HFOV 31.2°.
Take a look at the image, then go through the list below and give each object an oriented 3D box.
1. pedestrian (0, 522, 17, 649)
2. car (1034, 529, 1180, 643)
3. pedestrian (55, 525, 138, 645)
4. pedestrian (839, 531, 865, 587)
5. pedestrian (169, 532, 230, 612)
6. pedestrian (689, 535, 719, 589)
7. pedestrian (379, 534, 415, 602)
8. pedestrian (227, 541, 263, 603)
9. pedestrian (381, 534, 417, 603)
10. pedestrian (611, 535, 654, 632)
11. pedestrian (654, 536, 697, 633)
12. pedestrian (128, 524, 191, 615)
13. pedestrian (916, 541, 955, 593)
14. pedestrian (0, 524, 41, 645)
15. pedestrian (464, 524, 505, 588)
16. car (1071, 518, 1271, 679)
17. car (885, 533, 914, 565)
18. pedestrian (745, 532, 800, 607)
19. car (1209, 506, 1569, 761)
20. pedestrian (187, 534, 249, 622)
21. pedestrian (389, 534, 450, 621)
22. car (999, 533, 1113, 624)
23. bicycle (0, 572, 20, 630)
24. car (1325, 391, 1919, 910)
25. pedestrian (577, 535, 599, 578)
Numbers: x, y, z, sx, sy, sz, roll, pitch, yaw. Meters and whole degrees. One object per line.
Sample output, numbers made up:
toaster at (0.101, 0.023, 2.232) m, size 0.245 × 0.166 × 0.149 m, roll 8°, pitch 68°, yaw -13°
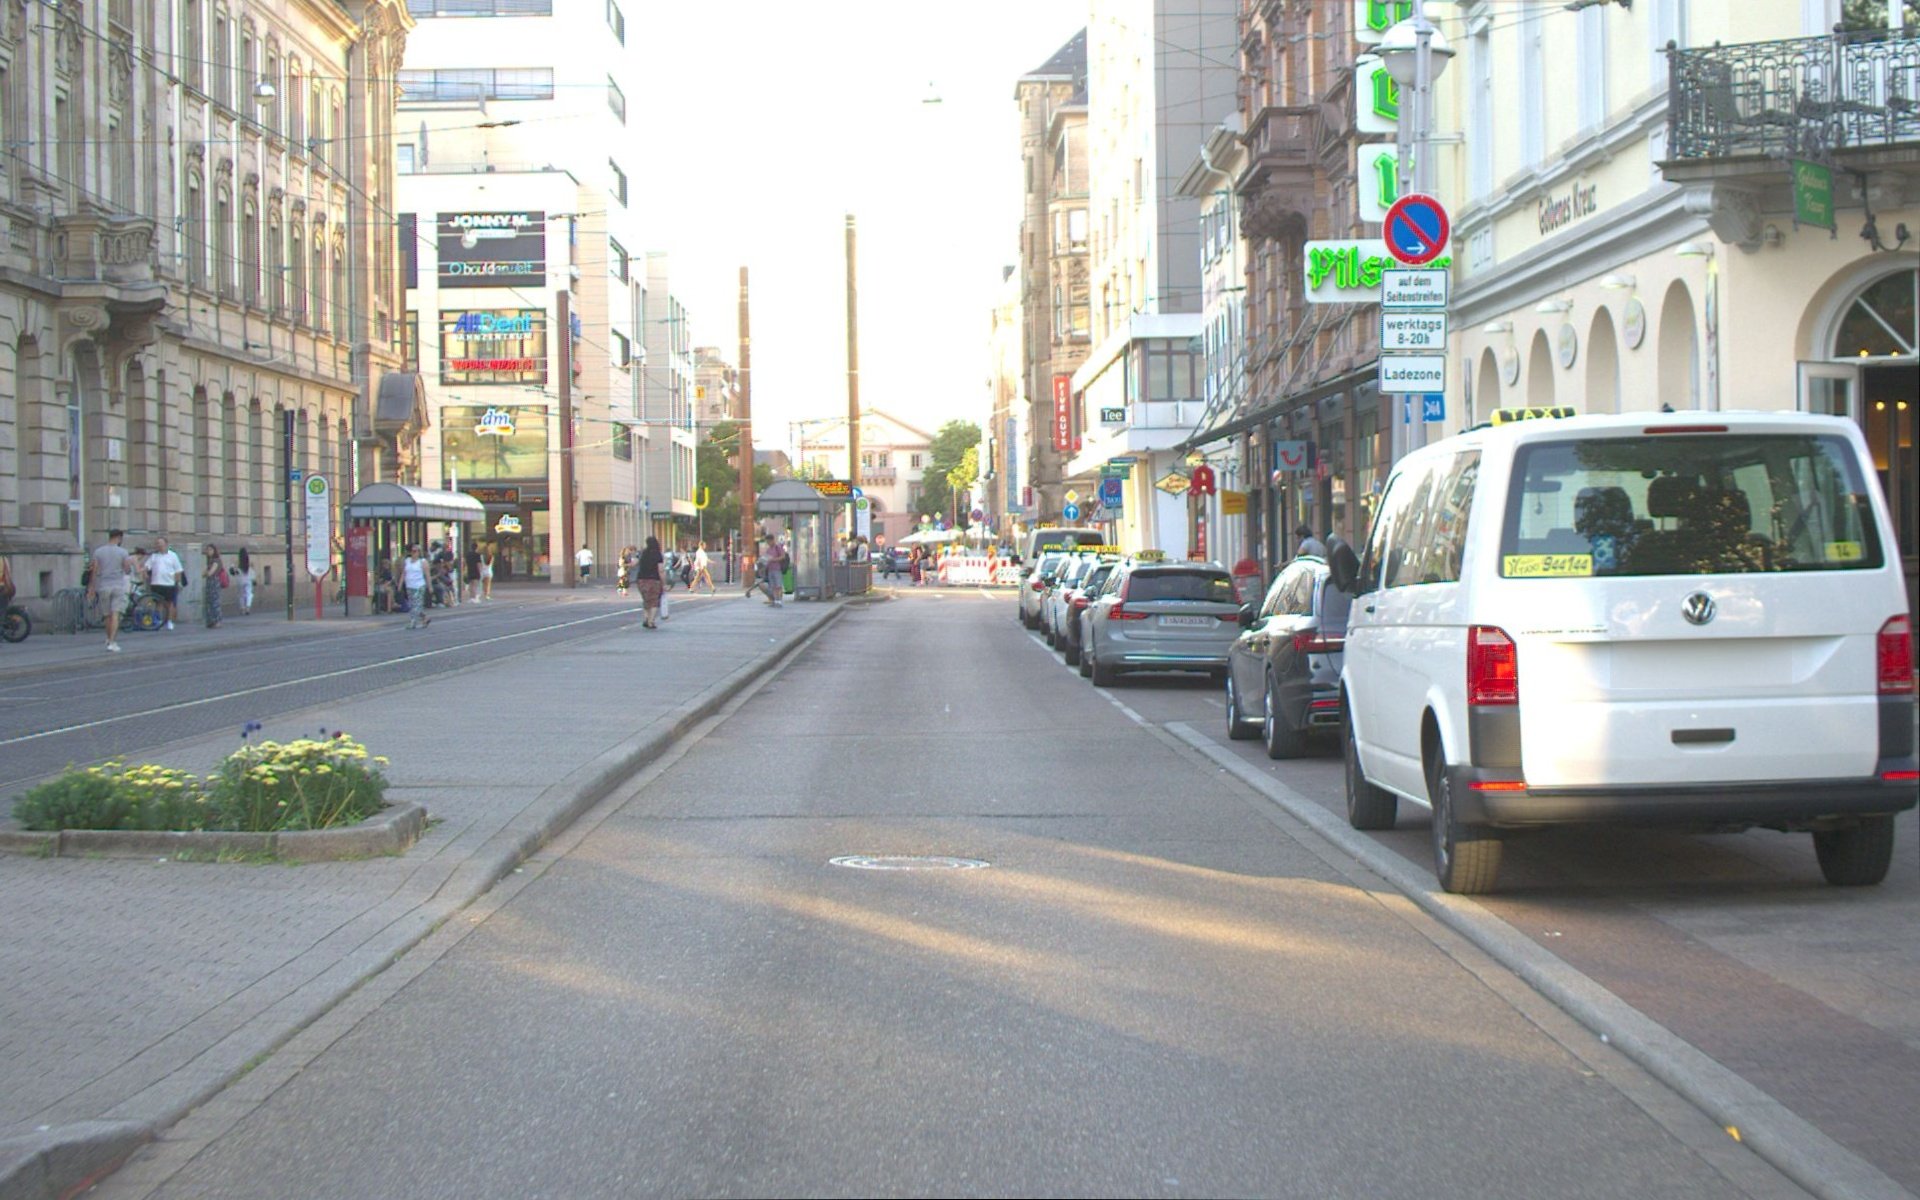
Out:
pedestrian at (-13.239, -0.179, 46.072) m, size 1.048 × 1.680 × 0.908 m, roll -1°, pitch -1°, yaw -10°
car at (2.230, -0.183, 53.126) m, size 1.993 × 1.661 × 4.421 m, roll -1°, pitch -1°, yaw -1°
pedestrian at (-12.250, -0.209, 48.778) m, size 1.048 × 1.680 × 0.908 m, roll -1°, pitch -1°, yaw -10°
pedestrian at (-2.990, -1.131, 95.327) m, size 0.612 × 1.518 × 0.621 m, roll -1°, pitch -1°, yaw -9°
pedestrian at (-16.051, -0.592, 72.555) m, size 1.049 × 1.680 × 0.791 m, roll 0°, pitch 1°, yaw 6°
pedestrian at (-9.061, -1.348, 121.615) m, size 0.905 × 1.922 × 0.851 m, roll -1°, pitch 1°, yaw -16°
pedestrian at (-13.117, -0.754, 80.082) m, size 0.777 × 1.575 × 0.679 m, roll -1°, pitch 1°, yaw -12°
pedestrian at (-16.594, -0.661, 79.768) m, size 0.629 × 1.424 × 0.710 m, roll 0°, pitch 1°, yaw 6°
pedestrian at (-12.935, -0.736, 79.236) m, size 0.773 × 1.575 × 0.679 m, roll -1°, pitch 1°, yaw -12°
pedestrian at (-5.558, -0.282, 58.269) m, size 0.689 × 1.630 × 0.581 m, roll -1°, pitch 1°, yaw -8°
pedestrian at (-4.835, -0.264, 58.353) m, size 0.671 × 1.630 × 0.763 m, roll -1°, pitch 1°, yaw -8°
pedestrian at (-15.016, -0.571, 64.464) m, size 1.048 × 1.680 × 0.908 m, roll -1°, pitch 1°, yaw -19°
pedestrian at (-0.927, -1.255, 130.278) m, size 1.229 × 1.922 × 1.022 m, roll -1°, pitch 1°, yaw -16°
pedestrian at (-13.473, -0.209, 48.195) m, size 1.048 × 1.680 × 0.908 m, roll -1°, pitch -1°, yaw -10°
pedestrian at (-14.432, -1.330, 104.333) m, size 0.907 × 1.922 × 0.849 m, roll 0°, pitch 1°, yaw 31°
car at (2.405, -0.038, 40.290) m, size 1.993 × 1.755 × 4.421 m, roll -1°, pitch 1°, yaw -1°
car at (-3.693, -3.111, 209.920) m, size 1.760 × 1.821 × 3.570 m, roll -1°, pitch -1°, yaw -1°
pedestrian at (-4.295, -0.695, 78.980) m, size 1.049 × 1.680 × 0.908 m, roll -1°, pitch -1°, yaw 11°
car at (3.010, 0.207, 25.028) m, size 1.993 × 1.661 × 4.421 m, roll -1°, pitch 0°, yaw -1°
pedestrian at (-14.362, -0.434, 66.516) m, size 1.048 × 1.680 × 0.908 m, roll -1°, pitch 1°, yaw -19°
pedestrian at (-10.543, -0.450, 67.039) m, size 1.049 × 1.680 × 0.908 m, roll 0°, pitch 1°, yaw -1°
car at (1.814, -0.387, 66.276) m, size 1.993 × 1.661 × 4.421 m, roll -1°, pitch -1°, yaw -1°
bicycle at (-16.187, 0.022, 56.114) m, size 1.582 × 0.945 × 0.359 m, roll -1°, pitch 0°, yaw -12°
car at (2.875, 0.167, 15.488) m, size 1.915 × 1.975 × 4.421 m, roll -1°, pitch 1°, yaw -1°
pedestrian at (-16.582, -1.935, 153.377) m, size 0.848 × 1.922 × 0.908 m, roll 0°, pitch 1°, yaw 0°
